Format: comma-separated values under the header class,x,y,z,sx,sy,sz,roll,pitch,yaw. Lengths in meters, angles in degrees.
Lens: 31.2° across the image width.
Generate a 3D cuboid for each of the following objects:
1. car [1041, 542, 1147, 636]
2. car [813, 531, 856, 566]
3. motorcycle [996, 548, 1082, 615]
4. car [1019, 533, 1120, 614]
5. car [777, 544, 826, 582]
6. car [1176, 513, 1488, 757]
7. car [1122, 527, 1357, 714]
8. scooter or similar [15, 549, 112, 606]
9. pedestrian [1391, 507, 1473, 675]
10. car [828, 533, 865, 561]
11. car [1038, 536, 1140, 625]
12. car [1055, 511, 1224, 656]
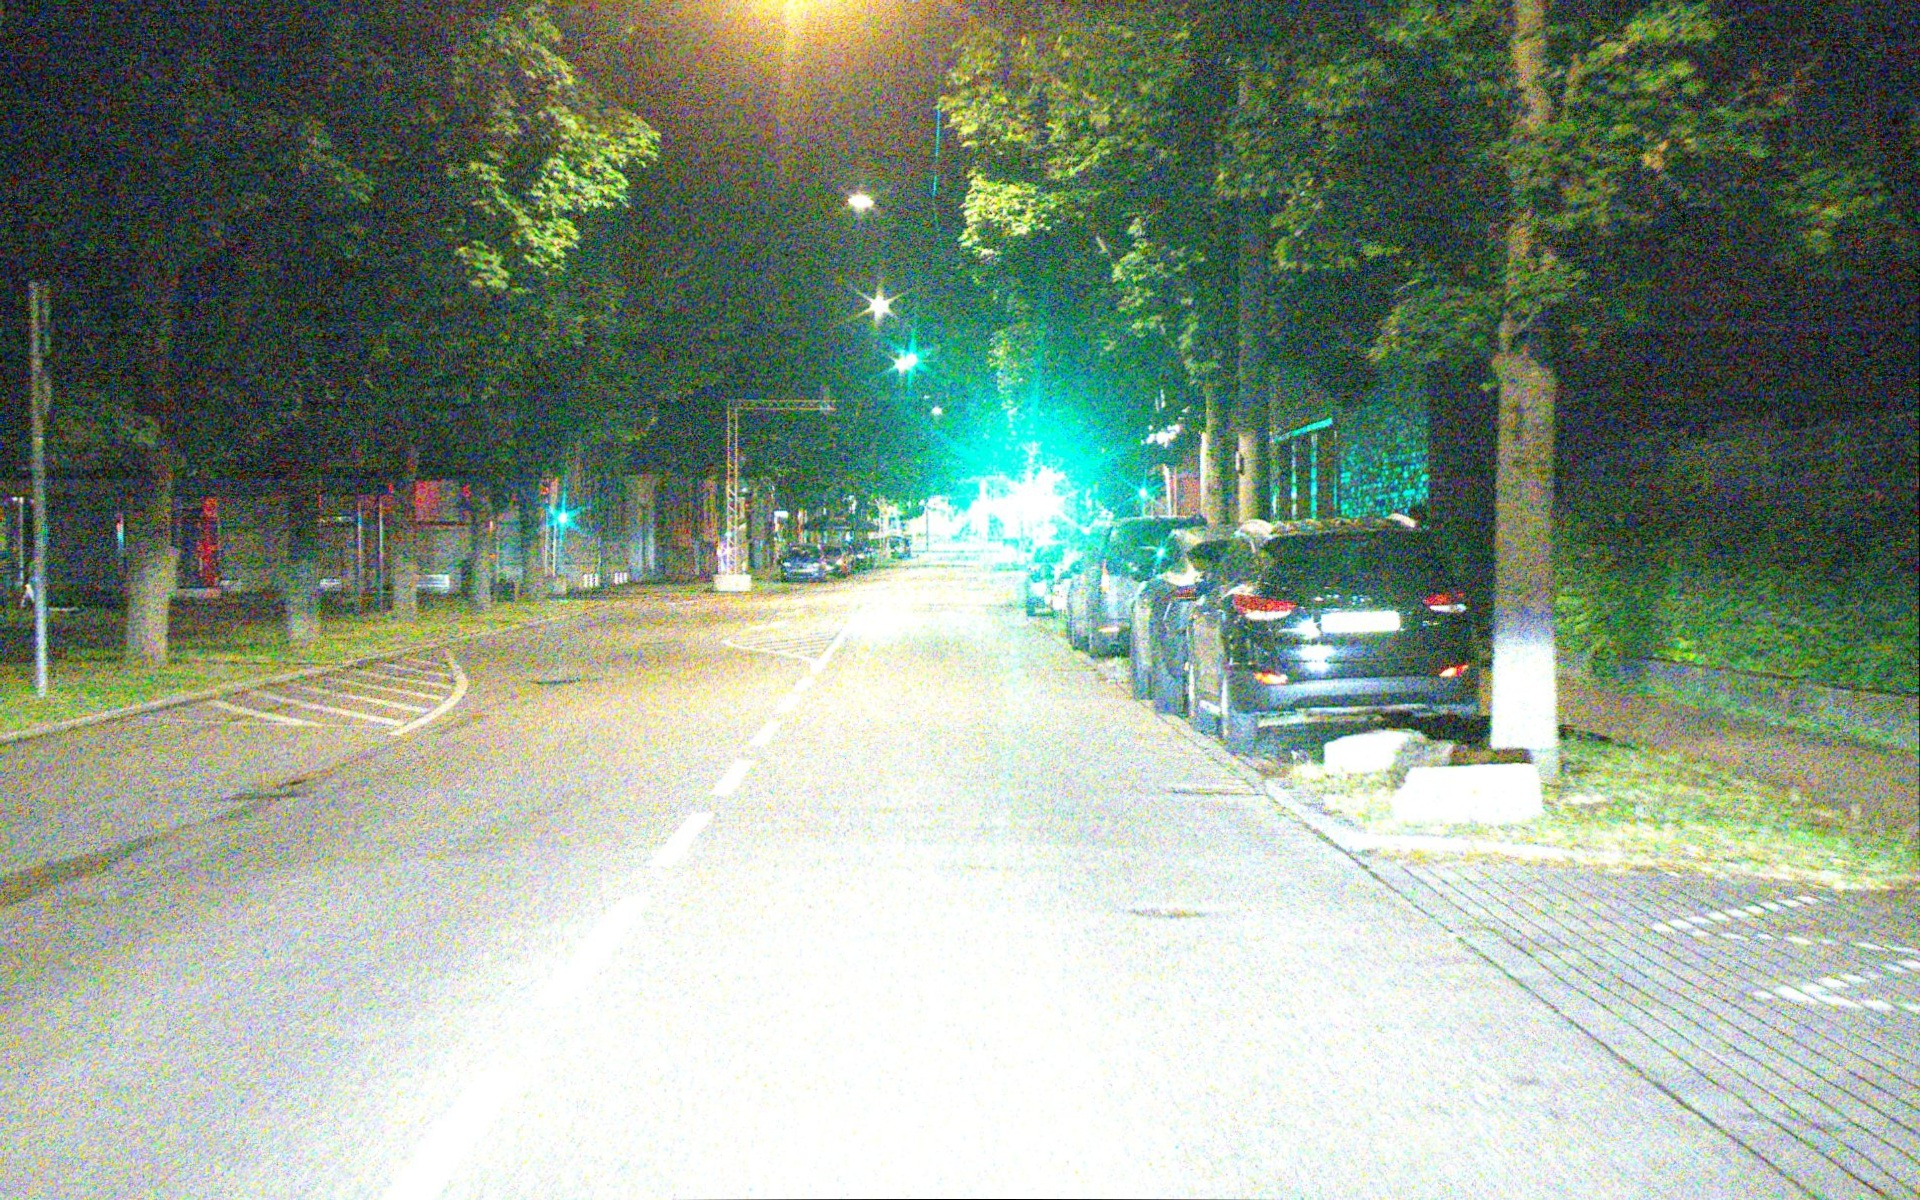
class,x,y,z,sx,sy,sz,roll,pitch,yaw
car,2.076,-0.200,54.050,1.520,1.391,3.984,-1,1,0
car,-5.404,-2.238,148.639,1.740,1.411,3.753,1,3,0
motorcycle,1.533,-0.353,66.279,0.637,1.265,2.060,1,1,34
car,2.208,-0.565,70.208,1.853,1.585,4.301,0,1,-1
car,-6.155,-1.444,133.674,1.740,1.411,3.752,1,1,0
car,2.710,0.201,25.905,1.853,1.648,4.209,-1,1,0
car,2.489,0.138,31.544,1.853,1.599,4.209,0,1,1
scooter or similar,-17.010,-0.423,65.238,1.674,1.004,0.544,3,1,2
pedestrian,4.921,-0.101,35.880,0.705,1.716,0.821,-1,1,0
car,-5.830,-2.729,176.976,1.740,1.411,3.752,1,1,0
car,2.329,-0.388,62.909,1.591,1.529,4.138,-1,1,-1
car,2.349,-0.252,46.008,1.771,1.800,4.278,-1,1,-3
